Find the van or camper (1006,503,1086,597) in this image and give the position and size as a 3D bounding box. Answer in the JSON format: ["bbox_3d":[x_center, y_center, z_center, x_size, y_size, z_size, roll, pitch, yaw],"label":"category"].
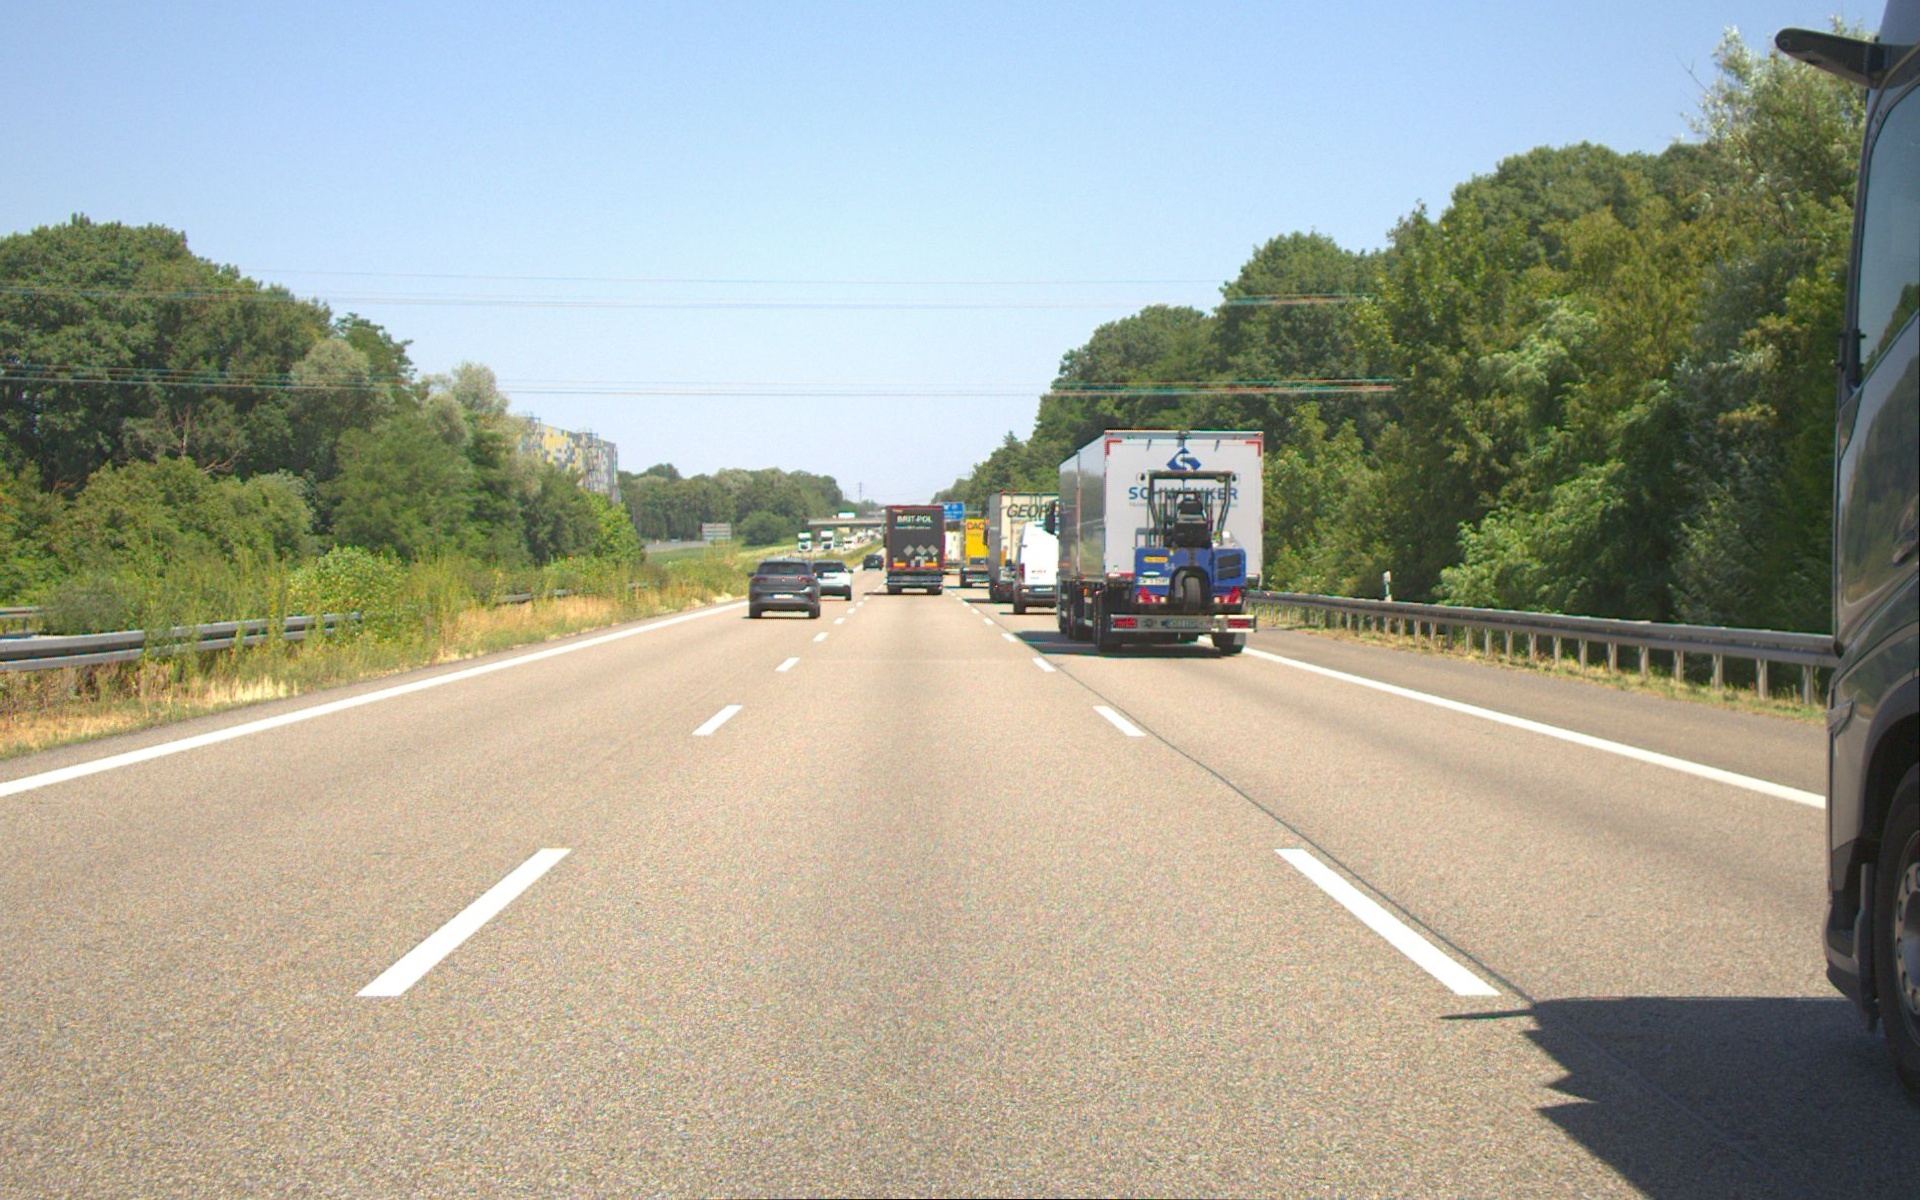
[{"bbox_3d":[2.468,-1.457,100.203,2.022,2.628,6.487,1,1,-1],"label":"van or camper"}]

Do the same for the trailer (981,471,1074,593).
[{"bbox_3d":[2.437,-2.519,129.120,2.993,4.274,13.419,1,1,-1],"label":"trailer"}]

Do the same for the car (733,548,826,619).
[{"bbox_3d":[-4.675,-0.460,89.864,2.216,1.784,5.394,-1,1,-1],"label":"car"}]

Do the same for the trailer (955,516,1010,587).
[{"bbox_3d":[1.237,-2.799,195.863,2.834,3.940,11.685,0,1,-1],"label":"trailer"}]

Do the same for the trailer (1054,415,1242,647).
[{"bbox_3d":[3.406,-1.250,64.140,2.920,4.027,7.317,1,1,-1],"label":"trailer"}]

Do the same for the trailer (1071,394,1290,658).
[{"bbox_3d":[3.550,-1.190,57.347,2.945,4.049,8.128,1,1,-1],"label":"trailer"}]

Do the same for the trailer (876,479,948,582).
[{"bbox_3d":[-2.272,-3.145,158.396,3.106,4.491,14.897,1,1,-1],"label":"trailer"}]

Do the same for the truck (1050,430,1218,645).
[{"bbox_3d":[3.379,-1.219,68.489,2.889,4.016,6.870,1,1,0],"label":"truck"}]

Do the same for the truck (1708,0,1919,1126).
[{"bbox_3d":[3.829,-0.565,8.212,2.553,3.941,6.514,0,1,-1],"label":"truck"}]

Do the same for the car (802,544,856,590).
[{"bbox_3d":[-4.981,-1.280,130.992,1.993,1.722,4.131,0,1,-2],"label":"car"}]
